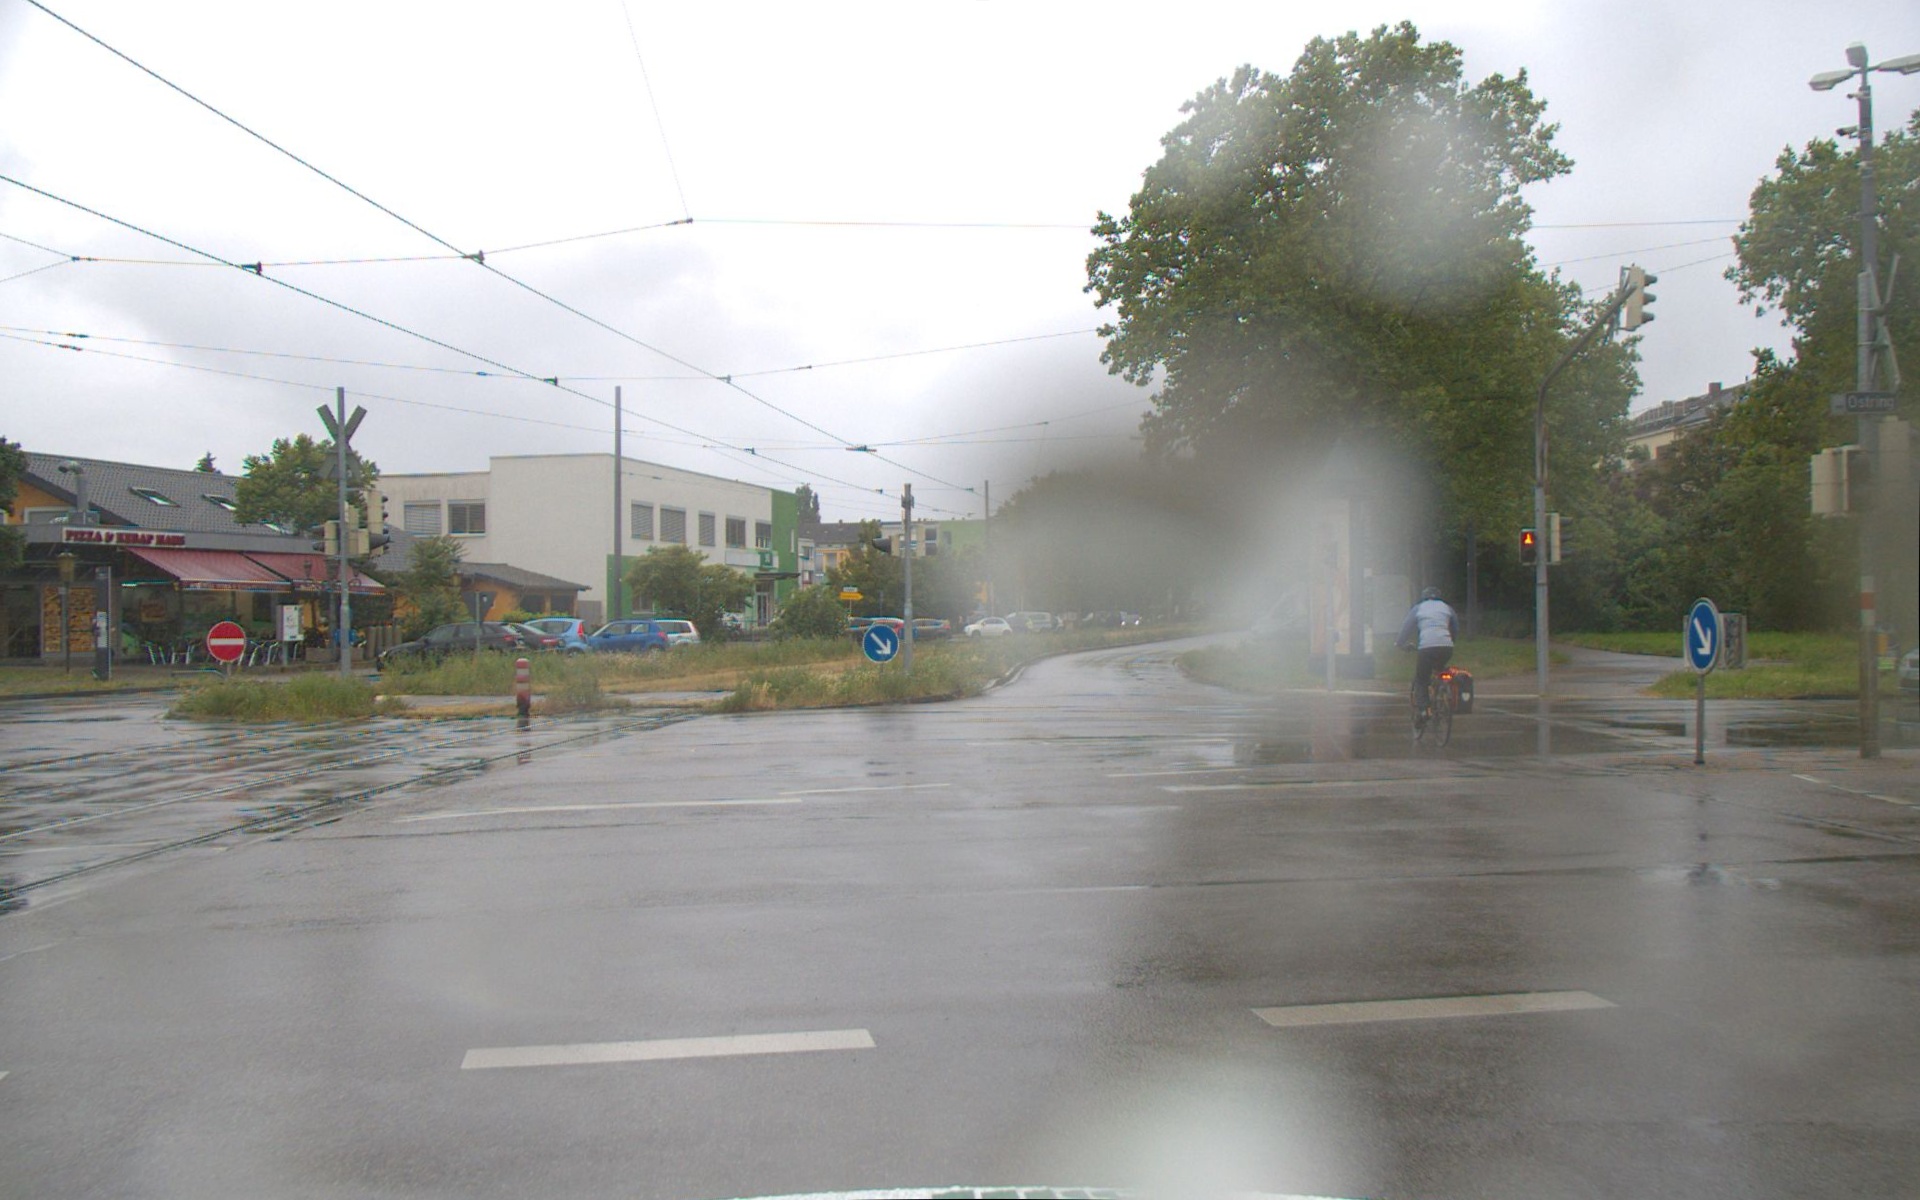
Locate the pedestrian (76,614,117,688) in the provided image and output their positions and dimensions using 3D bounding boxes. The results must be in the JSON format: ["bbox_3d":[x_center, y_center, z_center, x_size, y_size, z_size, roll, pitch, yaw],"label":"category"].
[{"bbox_3d":[-21.972,1.287,42.075,0.720,1.829,0.873,1,0,-41],"label":"pedestrian"}]

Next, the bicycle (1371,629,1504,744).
[{"bbox_3d":[4.981,0.880,17.389,0.677,1.136,1.882,0,-1,-6],"label":"bicycle"}]

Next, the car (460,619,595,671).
[{"bbox_3d":[-14.097,1.453,54.028,3.905,1.609,1.858,-1,-1,0],"label":"car"}]

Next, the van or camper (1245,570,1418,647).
[{"bbox_3d":[16.179,0.361,71.975,7.166,3.234,3.265,0,-1,14],"label":"van or camper"}]

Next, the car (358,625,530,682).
[{"bbox_3d":[-14.967,1.535,48.164,4.388,1.443,1.857,-2,-1,-3],"label":"car"}]

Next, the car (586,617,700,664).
[{"bbox_3d":[-11.961,1.502,62.372,4.044,1.670,1.920,0,-1,-18],"label":"car"}]

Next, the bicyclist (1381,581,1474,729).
[{"bbox_3d":[4.958,0.582,17.583,0.677,1.532,0.843,0,-1,-7],"label":"bicyclist"}]

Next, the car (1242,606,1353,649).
[{"bbox_3d":[14.070,1.143,68.937,4.350,1.747,2.001,0,-1,17],"label":"car"}]

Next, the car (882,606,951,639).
[{"bbox_3d":[-2.671,1.351,100.295,3.915,1.921,1.995,1,-1,-11],"label":"car"}]

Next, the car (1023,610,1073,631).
[{"bbox_3d":[7.698,1.797,144.761,3.921,1.864,1.992,1,-1,-15],"label":"car"}]

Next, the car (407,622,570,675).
[{"bbox_3d":[-14.379,1.462,50.616,4.407,1.443,1.857,-2,-1,-3],"label":"car"}]

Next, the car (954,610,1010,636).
[{"bbox_3d":[1.550,1.630,117.269,3.710,1.732,1.830,1,-1,-14],"label":"car"}]

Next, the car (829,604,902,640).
[{"bbox_3d":[-5.071,1.191,89.082,3.907,1.896,1.999,1,-1,-3],"label":"car"}]

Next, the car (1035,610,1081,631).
[{"bbox_3d":[8.872,1.875,150.004,3.912,1.864,1.996,1,-1,-9],"label":"car"}]

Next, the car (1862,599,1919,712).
[{"bbox_3d":[16.682,0.870,25.854,4.313,1.721,1.930,1,-1,-10],"label":"car"}]

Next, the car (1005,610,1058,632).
[{"bbox_3d":[5.855,1.700,135.559,3.921,1.789,2.002,1,-1,-15],"label":"car"}]

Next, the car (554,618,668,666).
[{"bbox_3d":[-12.509,1.482,59.179,3.921,1.609,1.922,0,-1,-15],"label":"car"}]

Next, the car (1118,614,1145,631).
[{"bbox_3d":[17.330,2.286,167.329,1.851,1.691,4.001,0,-1,19],"label":"car"}]
